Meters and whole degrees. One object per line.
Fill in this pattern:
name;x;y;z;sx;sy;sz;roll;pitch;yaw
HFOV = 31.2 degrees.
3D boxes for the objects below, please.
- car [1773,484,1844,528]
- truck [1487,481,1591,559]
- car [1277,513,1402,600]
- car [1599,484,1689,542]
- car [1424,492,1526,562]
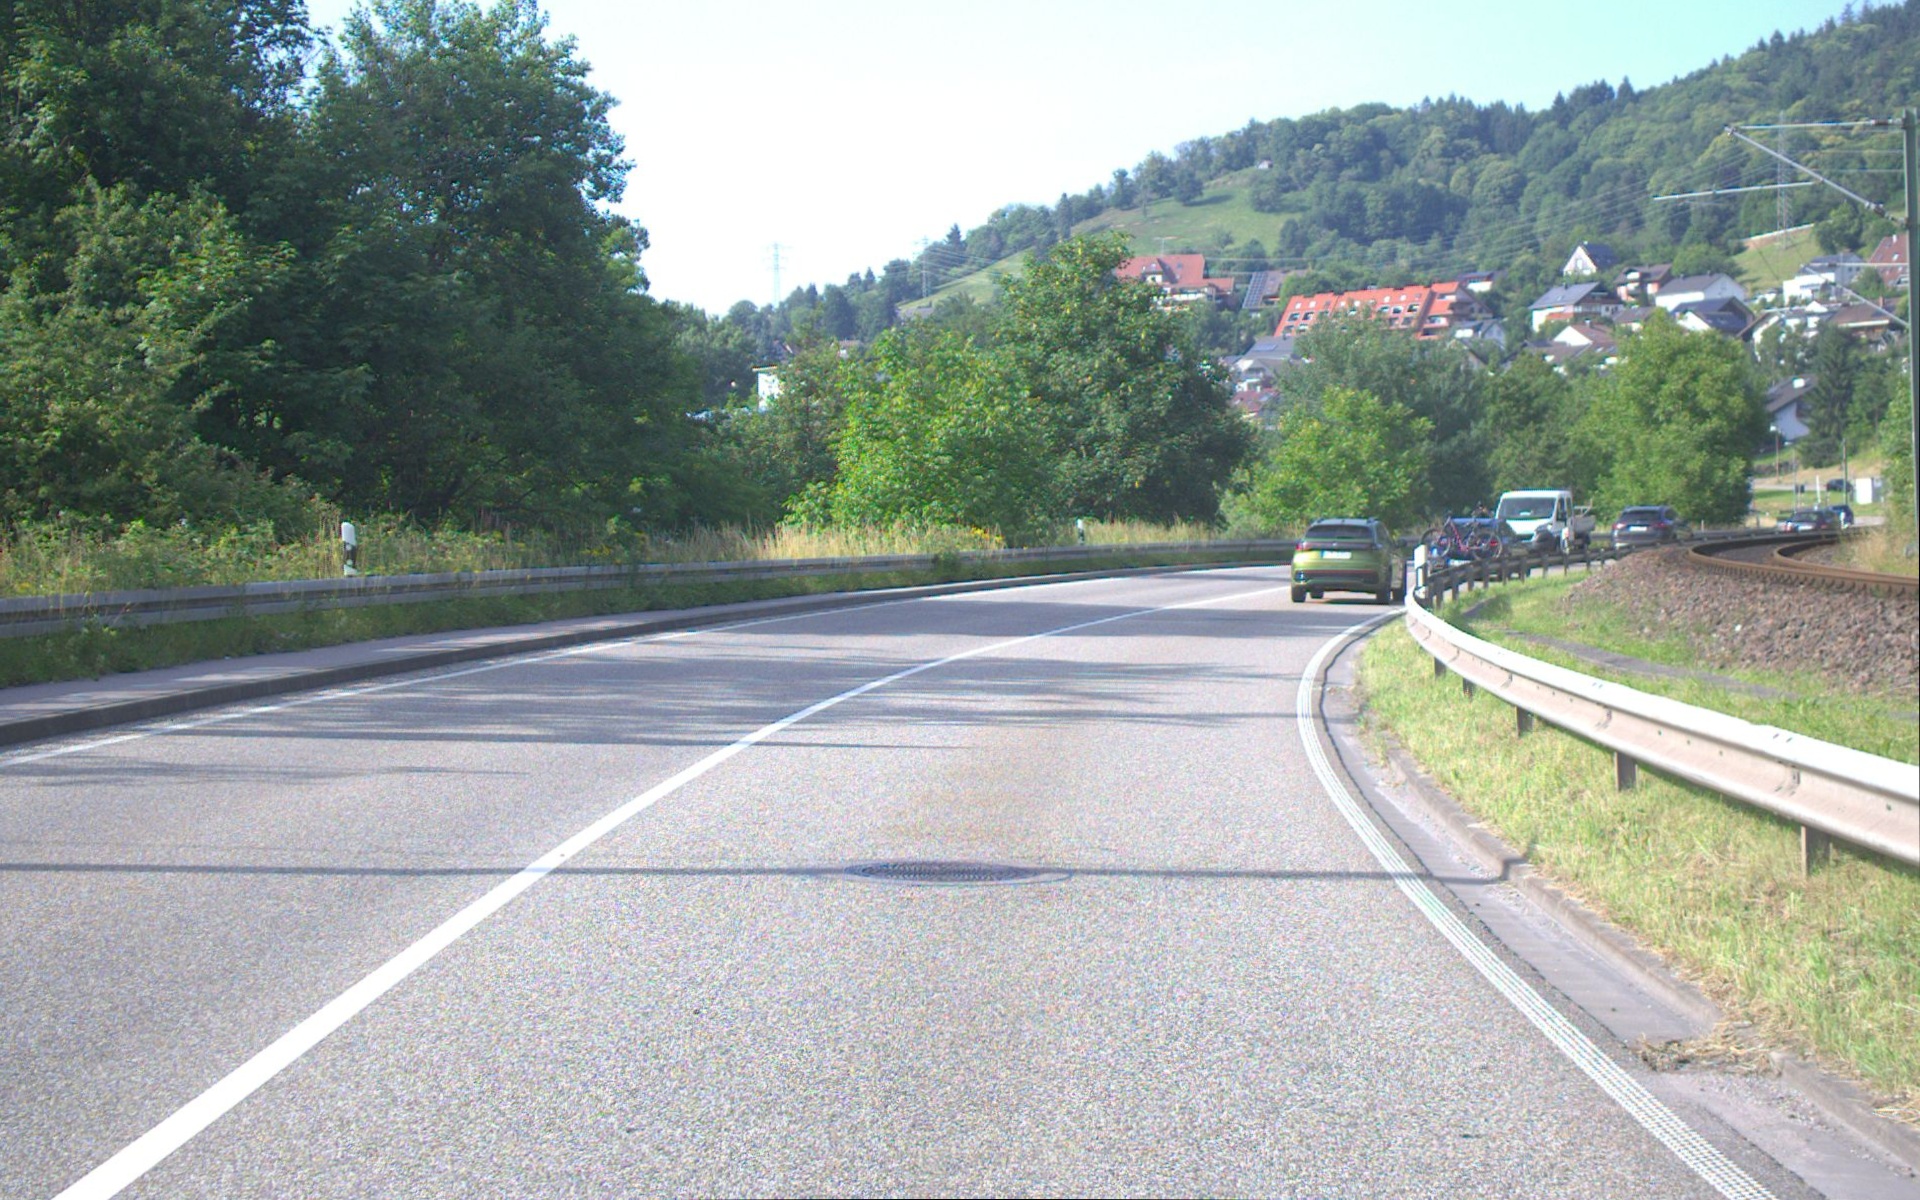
car;31.848;-3.539;128.981;1.851;1.521;3.658;-2;1;25
truck;18.536;-2.562;109.760;2.159;2.357;6.740;2;2;19
car;6.835;-0.809;61.609;1.716;1.450;3.998;2;2;13
car;21.058;-2.697;105.698;1.882;1.681;3.995;-2;1;23
car;11.948;-1.714;79.618;1.668;1.554;3.997;1;2;19
